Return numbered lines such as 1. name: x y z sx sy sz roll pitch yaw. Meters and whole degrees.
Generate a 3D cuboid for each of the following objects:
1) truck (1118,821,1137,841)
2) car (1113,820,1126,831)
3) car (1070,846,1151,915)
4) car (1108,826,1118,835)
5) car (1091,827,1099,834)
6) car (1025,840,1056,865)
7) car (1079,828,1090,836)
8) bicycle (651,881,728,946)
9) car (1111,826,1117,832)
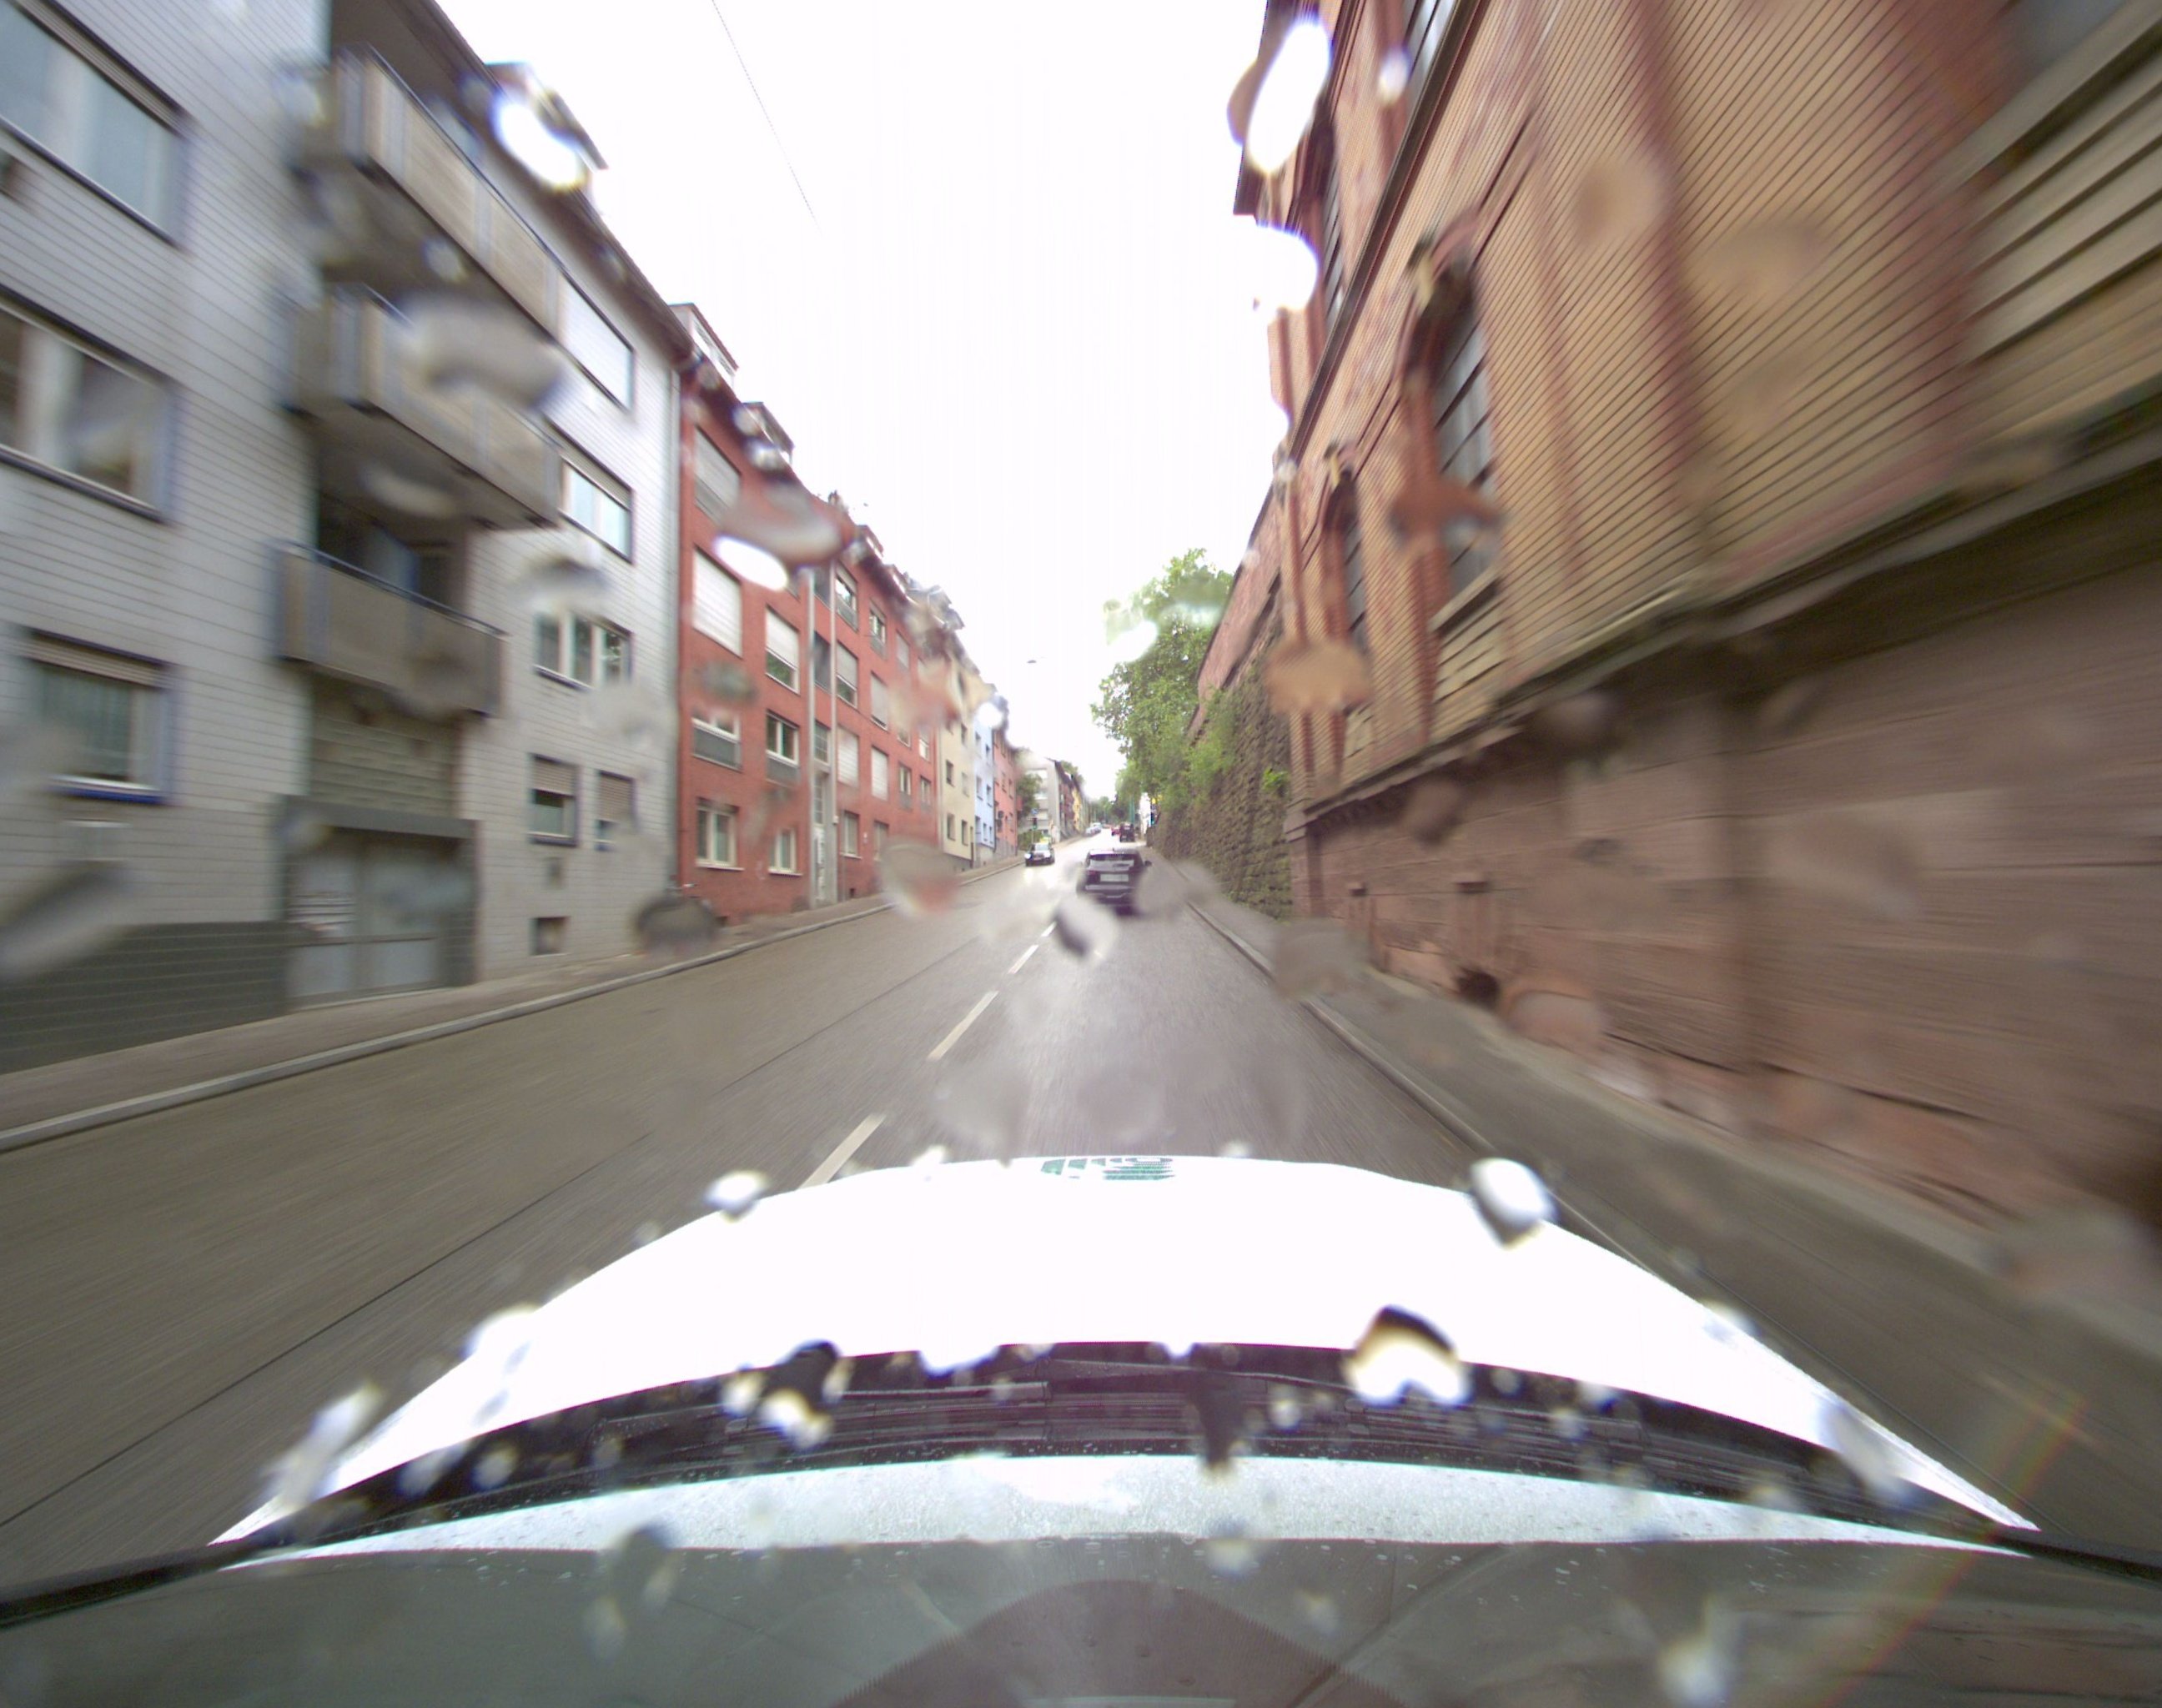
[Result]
1. truck: 6.037 -3.035 106.451 2.280 2.440 4.456 -3 1 3
2. car: 5.769 -4.188 121.390 1.787 1.510 4.504 -3 1 3
3. car: 0.731 0.621 21.166 1.874 1.594 3.921 -1 0 1
4. car: 6.212 -4.513 156.250 1.787 1.510 4.003 -3 1 3
5. car: 3.306 -5.673 196.083 1.787 1.510 4.003 -3 1 3
6. car: -2.670 -0.106 54.269 1.707 1.447 3.924 -3 2 2
7. car: 0.606 -4.121 152.308 1.787 1.510 4.003 -3 1 3
8. bicycle: -7.710 1.145 16.121 0.496 1.107 1.802 -2 1 4
9. car: 9.859 -7.473 245.619 1.787 1.510 4.003 -3 1 3
